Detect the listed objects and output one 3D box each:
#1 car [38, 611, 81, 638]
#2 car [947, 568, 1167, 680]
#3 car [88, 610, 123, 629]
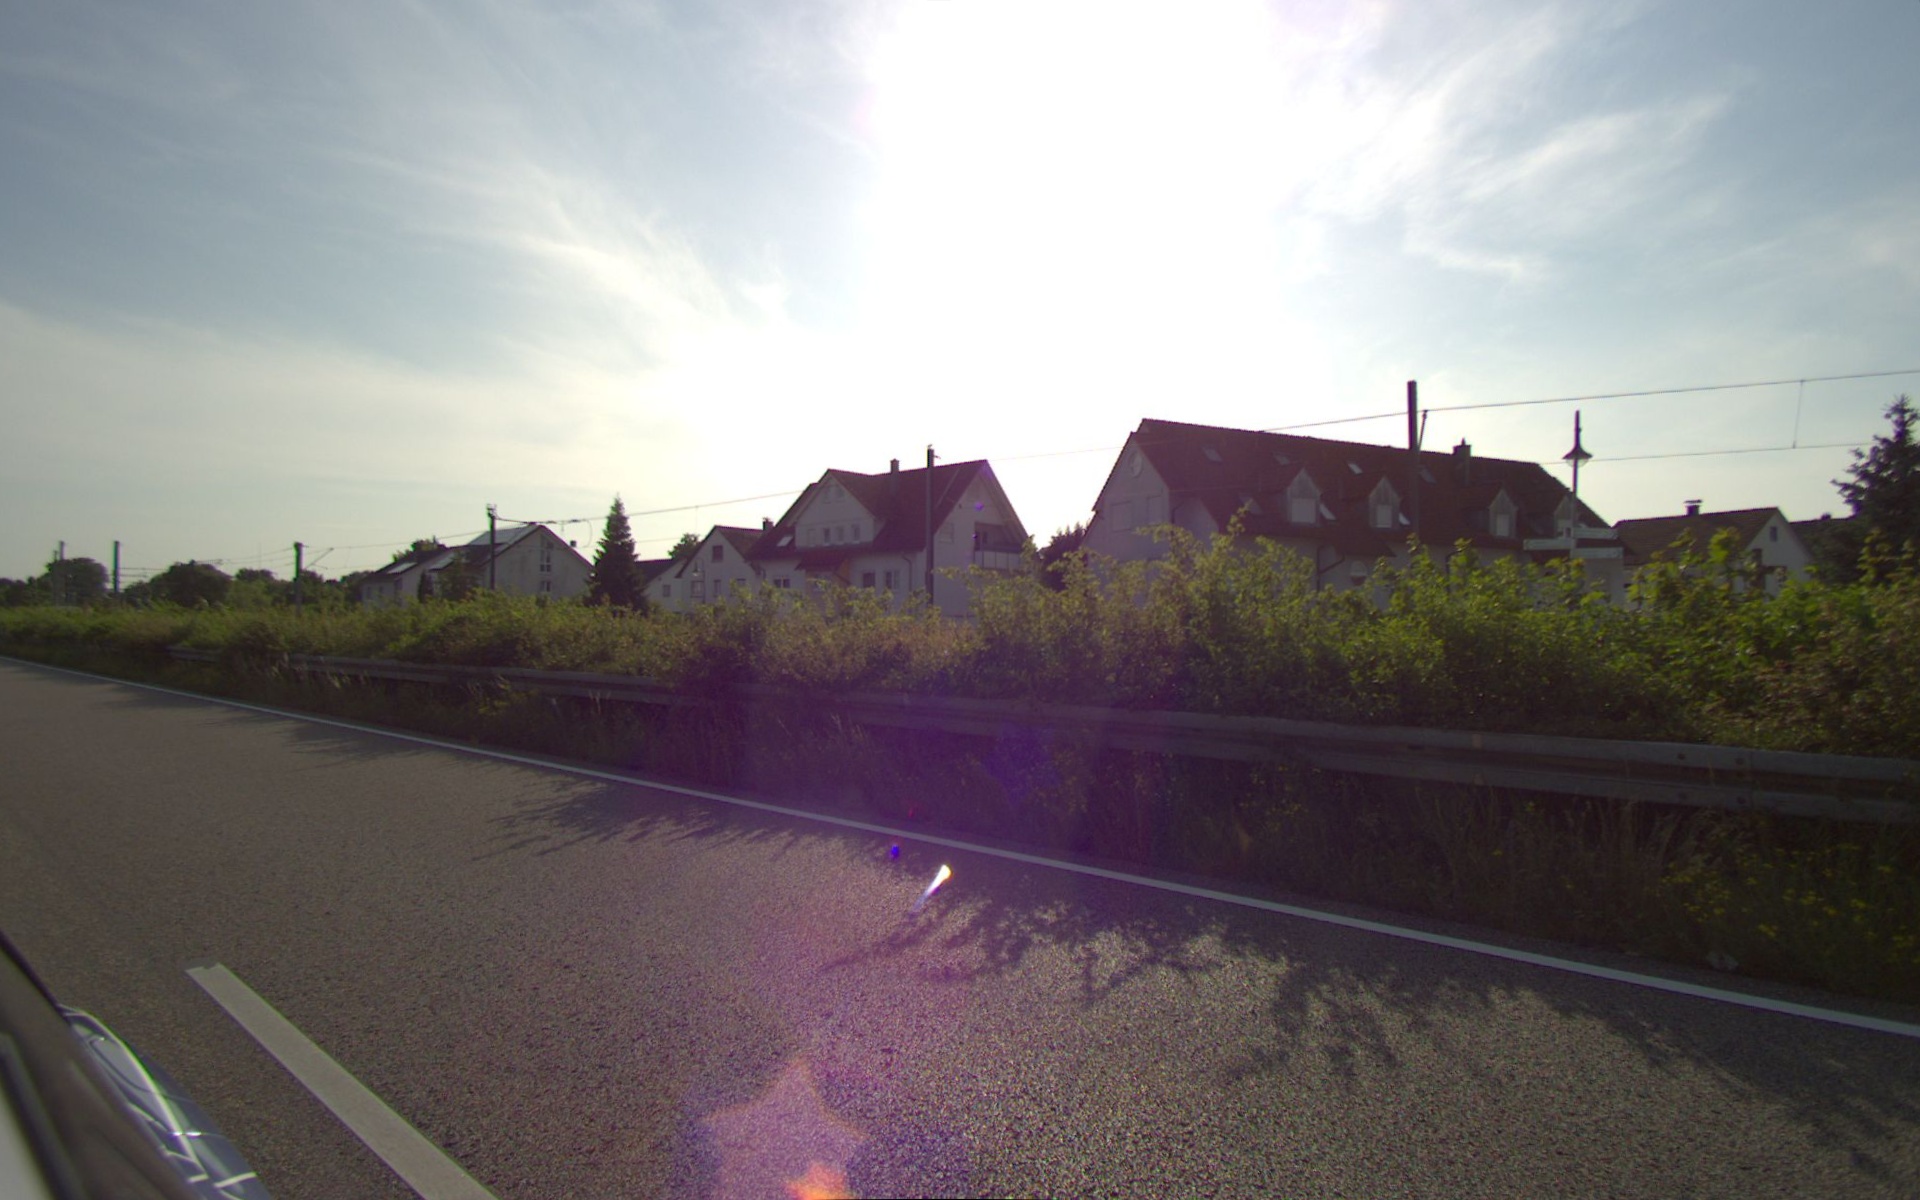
[{"bbox_3d":[-71.215,1.888,80.020,4.869,2.029,1.973,-1,0,41],"label":"car"},{"bbox_3d":[1.886,0.449,20.357,3.998,2.029,1.973,-1,0,41],"label":"car"},{"bbox_3d":[-80.806,1.821,95.713,3.998,1.763,1.973,-1,0,41],"label":"car"}]
